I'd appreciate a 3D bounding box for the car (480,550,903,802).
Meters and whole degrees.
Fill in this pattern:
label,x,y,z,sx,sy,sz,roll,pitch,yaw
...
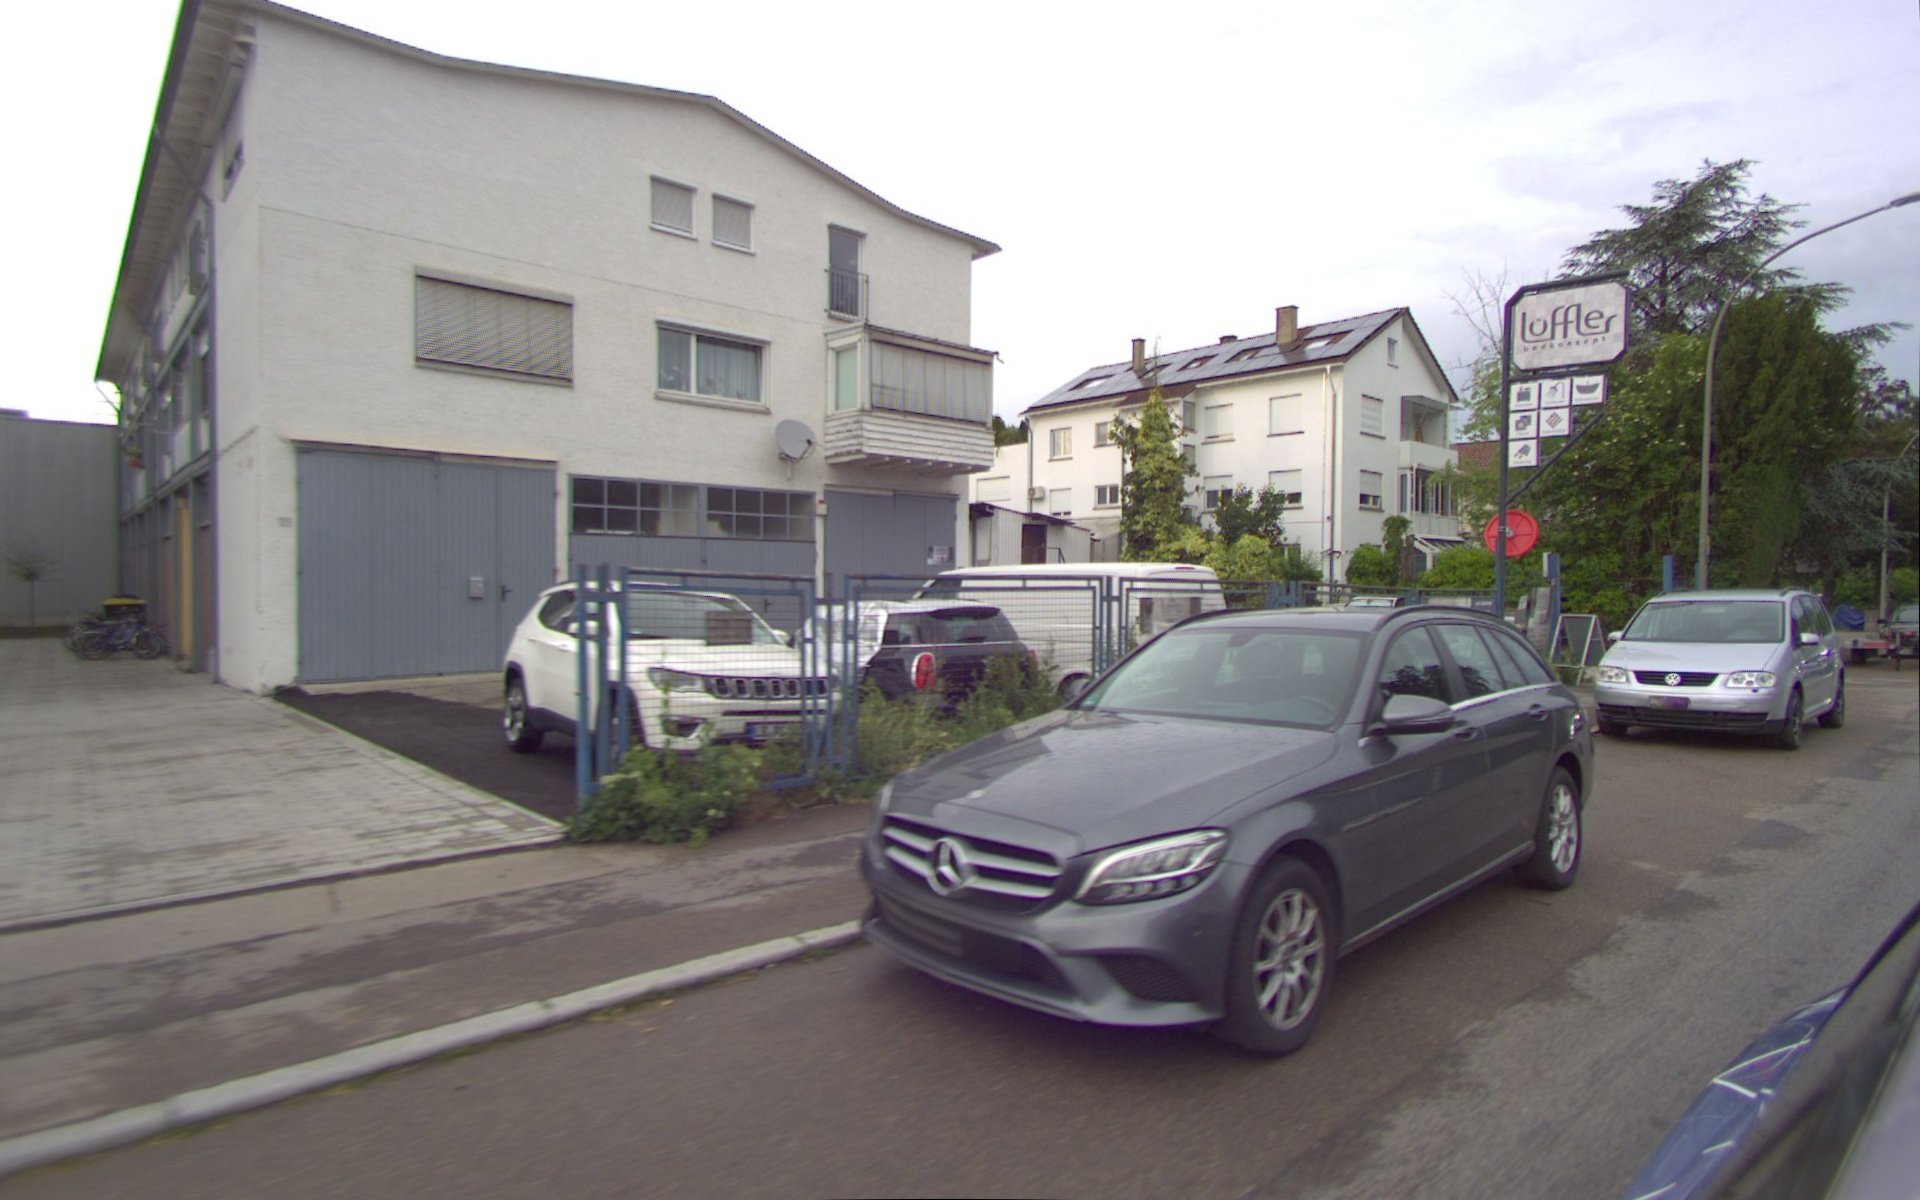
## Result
label,x,y,z,sx,sy,sz,roll,pitch,yaw
car,-2.593,0.491,8.935,1.860,1.645,4.452,0,0,-41

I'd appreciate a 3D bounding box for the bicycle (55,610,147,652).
label,x,y,z,sx,sy,sz,roll,pitch,yaw
bicycle,-22.888,0.809,26.998,1.786,1.073,0.679,0,0,-32

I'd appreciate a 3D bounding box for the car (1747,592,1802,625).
label,x,y,z,sx,sy,sz,roll,pitch,yaw
car,39.310,0.388,48.821,1.744,1.507,4.054,1,1,43

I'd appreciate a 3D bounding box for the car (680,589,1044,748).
label,x,y,z,sx,sy,sz,roll,pitch,yaw
car,-1.262,0.600,11.177,1.818,1.396,4.325,0,0,-42

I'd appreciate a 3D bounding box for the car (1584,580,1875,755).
label,x,y,z,sx,sy,sz,roll,pitch,yaw
car,8.928,0.620,11.606,4.295,1.642,1.742,-1,0,-40

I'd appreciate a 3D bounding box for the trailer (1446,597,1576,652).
label,x,y,z,sx,sy,sz,roll,pitch,yaw
trailer,14.183,0.575,25.988,3.822,1.291,1.619,0,1,-39

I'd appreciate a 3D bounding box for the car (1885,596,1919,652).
label,x,y,z,sx,sy,sz,roll,pitch,yaw
car,26.787,0.595,27.554,4.566,1.451,1.743,-1,-1,-40

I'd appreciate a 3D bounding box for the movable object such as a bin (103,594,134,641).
label,x,y,z,sx,sy,sz,roll,pitch,yaw
movable object such as a bin,-25.838,0.528,31.073,0.710,1.399,0.409,0,0,-39

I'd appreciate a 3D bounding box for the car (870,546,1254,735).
label,x,y,z,sx,sy,sz,roll,pitch,yaw
car,1.056,0.401,12.635,1.965,1.910,4.739,0,0,-41

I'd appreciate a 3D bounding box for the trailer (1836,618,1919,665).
label,x,y,z,sx,sy,sz,roll,pitch,yaw
trailer,22.030,0.900,23.175,6.521,0.908,2.177,0,0,-42

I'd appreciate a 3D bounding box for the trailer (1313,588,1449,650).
label,x,y,z,sx,sy,sz,roll,pitch,yaw
trailer,11.708,0.448,27.963,4.726,1.539,1.770,-1,2,-44

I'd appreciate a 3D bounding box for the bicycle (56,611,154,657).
label,x,y,z,sx,sy,sz,roll,pitch,yaw
bicycle,-21.391,0.834,25.369,1.786,1.073,0.679,0,0,-32

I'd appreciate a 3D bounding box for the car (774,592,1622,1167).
label,x,y,z,sx,sy,sz,roll,pitch,yaw
car,1.498,0.715,4.808,4.469,1.485,1.740,-1,0,-43

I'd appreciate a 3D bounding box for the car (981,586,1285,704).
label,x,y,z,sx,sy,sz,roll,pitch,yaw
car,2.402,0.556,14.848,1.965,1.475,4.110,0,0,-41

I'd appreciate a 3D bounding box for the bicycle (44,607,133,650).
label,x,y,z,sx,sy,sz,roll,pitch,yaw
bicycle,-24.111,0.763,28.028,1.786,1.133,0.679,0,0,-32
